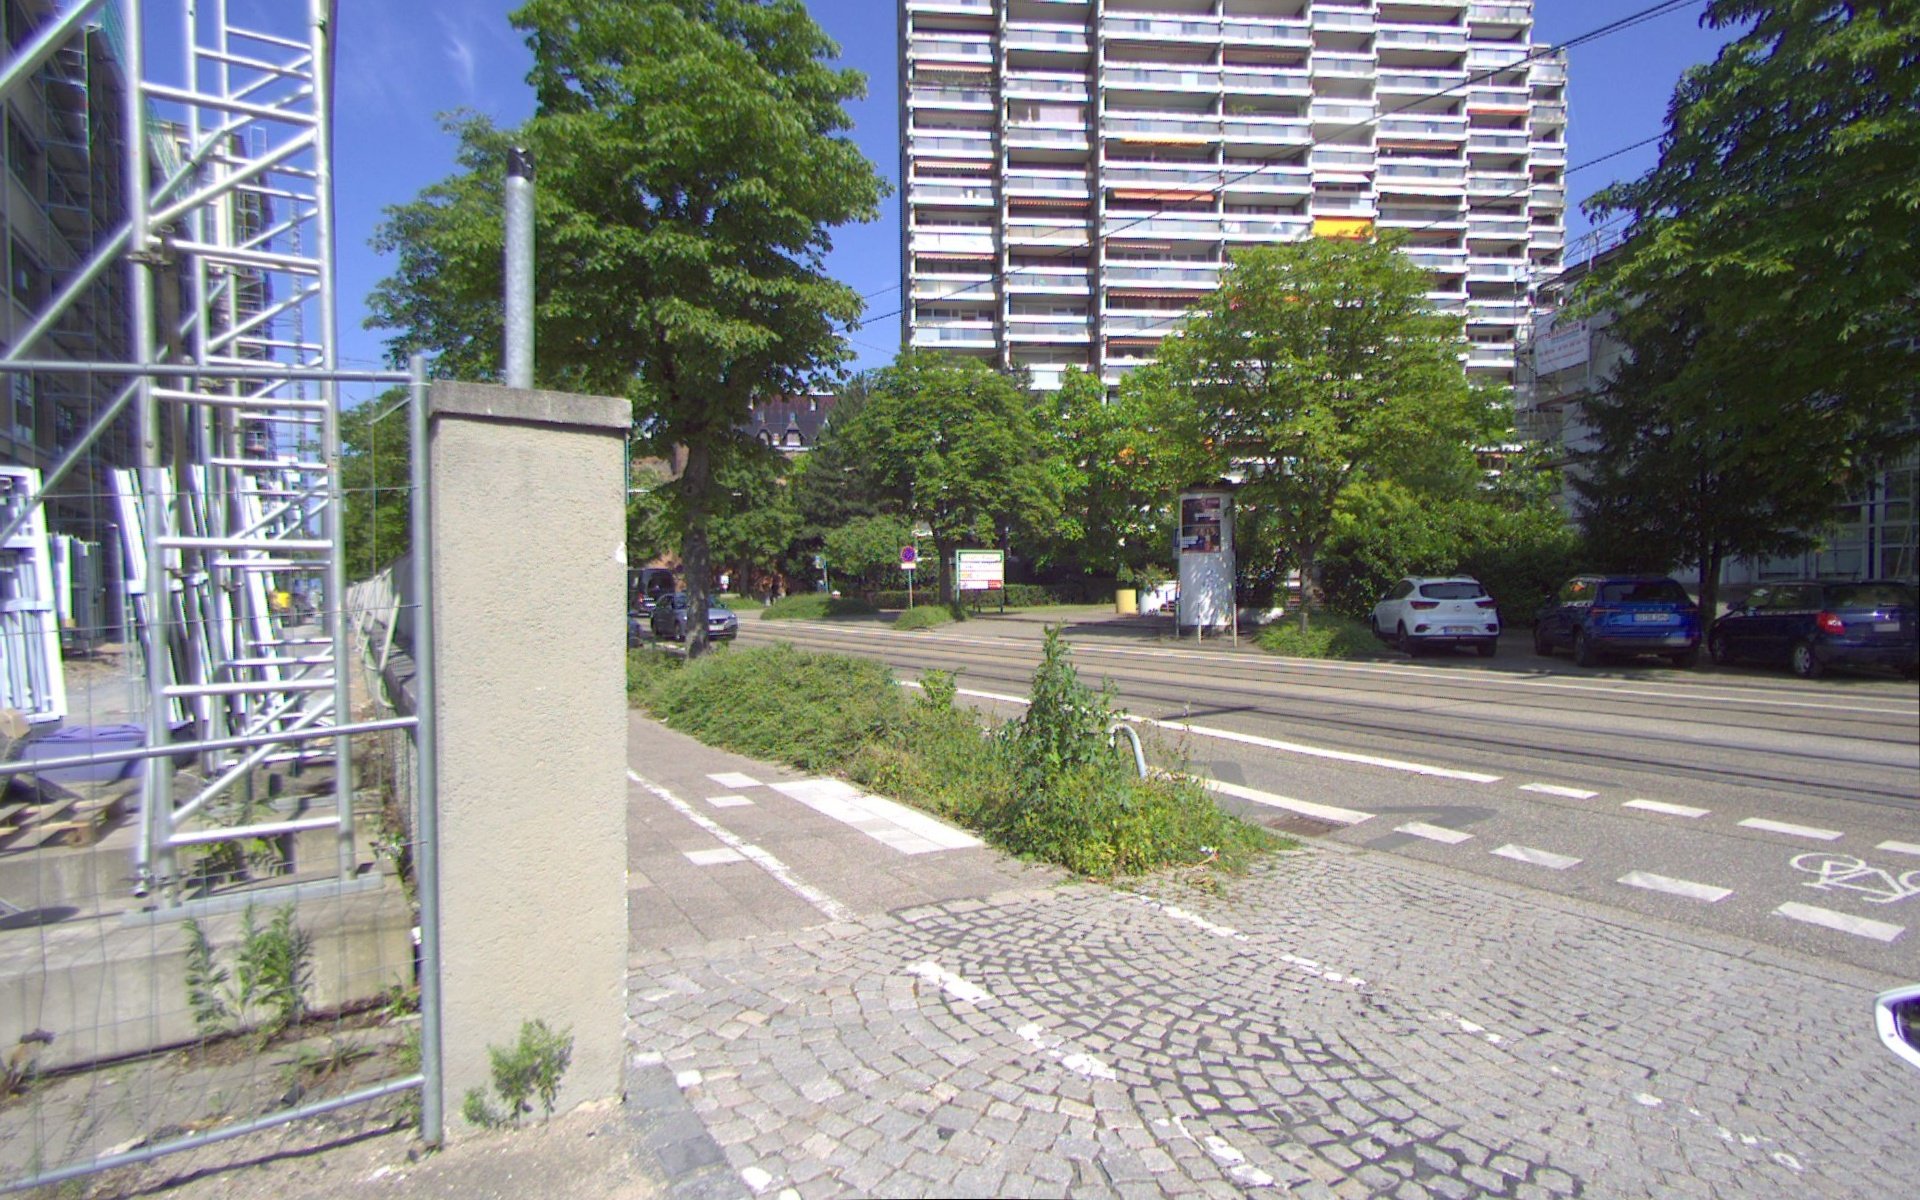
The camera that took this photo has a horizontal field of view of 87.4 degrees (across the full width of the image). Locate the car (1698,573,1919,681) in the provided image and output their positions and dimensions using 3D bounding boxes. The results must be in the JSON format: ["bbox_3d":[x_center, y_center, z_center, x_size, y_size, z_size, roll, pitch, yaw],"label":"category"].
[{"bbox_3d":[13.674,0.362,16.229,1.544,1.551,3.460,0,1,12],"label":"car"}]

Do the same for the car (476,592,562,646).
[{"bbox_3d":[-13.236,0.513,30.032,1.801,1.473,3.965,-1,1,-32],"label":"car"}]

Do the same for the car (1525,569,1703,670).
[{"bbox_3d":[12.074,0.287,18.833,1.745,1.644,3.945,-1,2,17],"label":"car"}]

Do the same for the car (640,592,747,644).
[{"bbox_3d":[-8.326,0.510,31.101,1.872,1.427,4.552,-2,2,-33],"label":"car"}]

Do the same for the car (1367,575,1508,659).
[{"bbox_3d":[10.132,0.300,21.641,1.783,1.628,3.947,0,1,10],"label":"car"}]

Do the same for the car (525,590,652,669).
[{"bbox_3d":[-8.126,0.563,21.770,1.801,1.514,4.071,-1,1,-32],"label":"car"}]

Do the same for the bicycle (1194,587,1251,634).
[{"bbox_3d":[7.521,0.291,28.874,0.542,1.326,1.604,-1,1,-37],"label":"bicycle"}]

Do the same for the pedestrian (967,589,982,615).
[{"bbox_3d":[0.658,0.084,44.561,0.525,1.170,0.700,-1,1,-10],"label":"pedestrian"}]

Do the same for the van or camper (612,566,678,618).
[{"bbox_3d":[-17.080,-0.433,54.301,2.028,2.655,5.810,-1,1,-32],"label":"van or camper"}]

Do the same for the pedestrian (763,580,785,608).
[{"bbox_3d":[-12.345,-0.373,66.622,1.048,1.822,1.254,1,1,-30],"label":"pedestrian"}]
